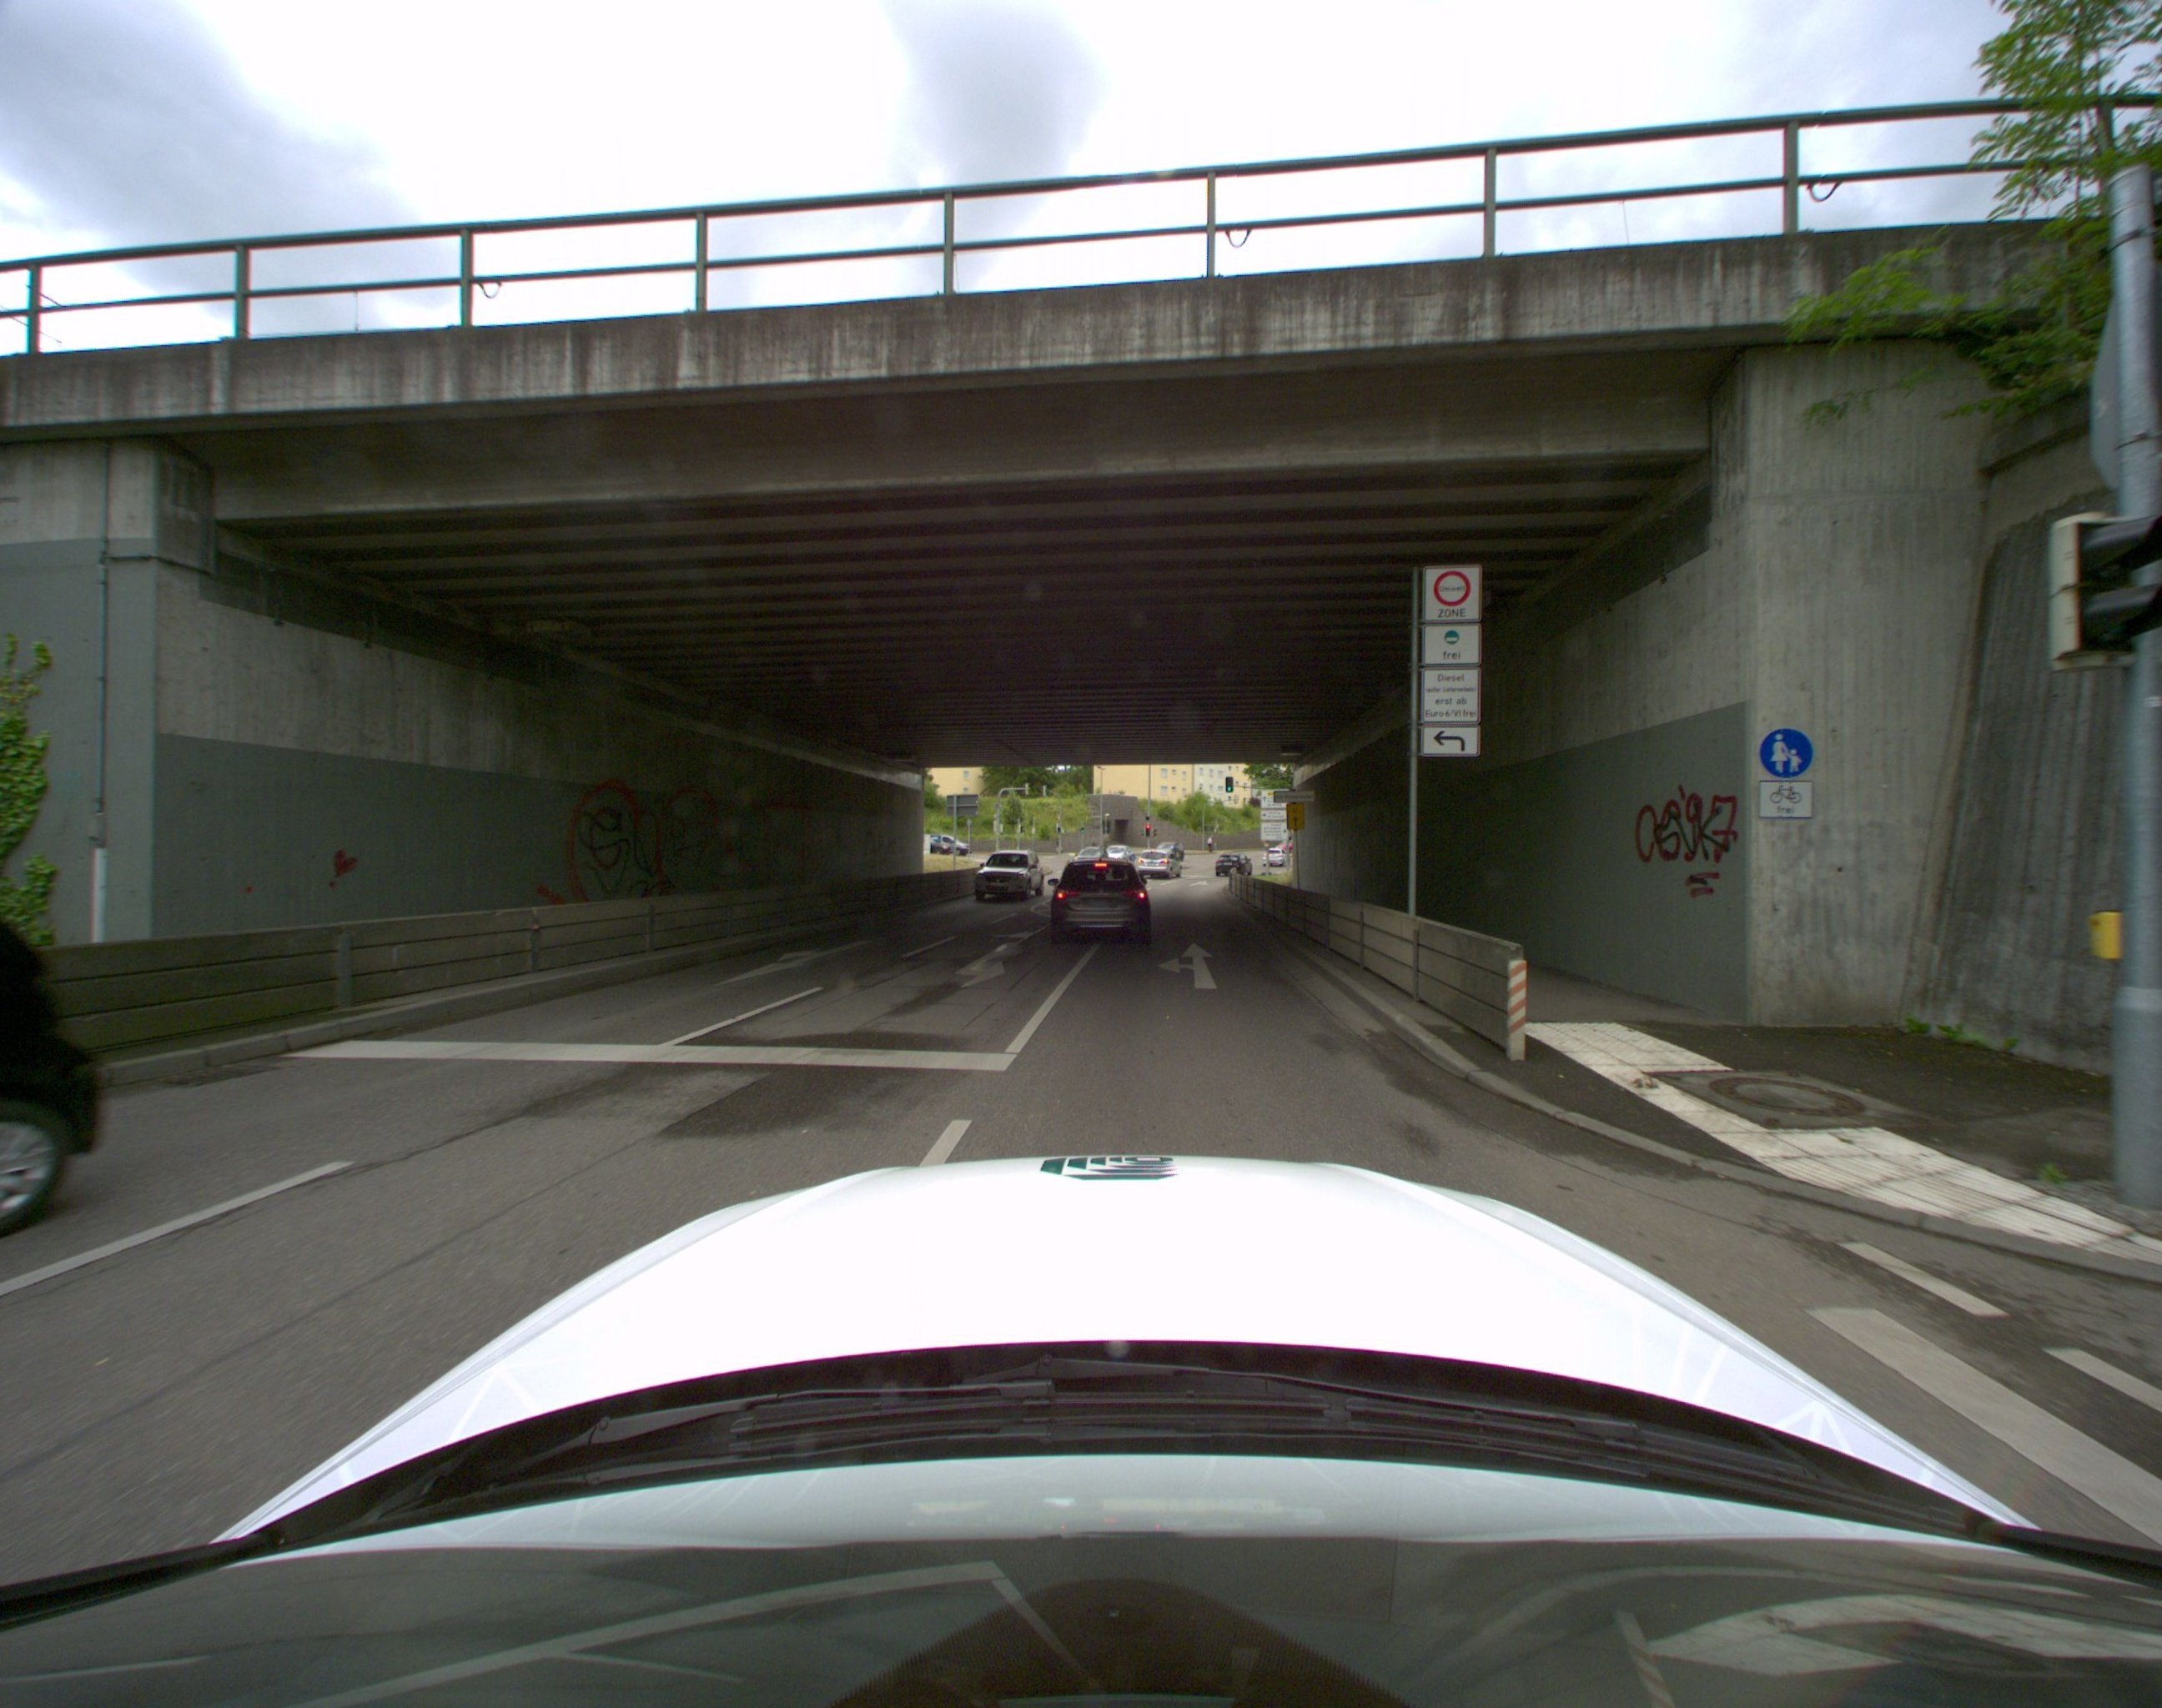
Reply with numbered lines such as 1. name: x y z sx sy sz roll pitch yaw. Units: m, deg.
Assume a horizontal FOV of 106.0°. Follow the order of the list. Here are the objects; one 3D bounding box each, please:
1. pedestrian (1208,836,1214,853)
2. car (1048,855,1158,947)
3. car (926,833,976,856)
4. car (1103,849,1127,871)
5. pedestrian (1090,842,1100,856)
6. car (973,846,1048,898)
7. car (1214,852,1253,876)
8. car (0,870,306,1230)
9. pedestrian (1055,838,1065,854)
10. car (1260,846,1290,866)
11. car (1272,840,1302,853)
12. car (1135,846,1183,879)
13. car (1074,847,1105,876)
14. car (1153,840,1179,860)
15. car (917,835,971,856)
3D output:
1. pedestrian: 14.794 -1.079 92.466 0.602 1.862 0.597 1 1 1
2. car: 0.325 0.795 15.656 1.839 1.493 3.998 1 0 -2
3. car: -11.483 -0.865 71.977 3.969 1.947 2.002 0 1 4
4. car: 2.557 0.416 61.445 1.756 1.591 4.003 0 1 3
5. pedestrian: 1.355 -0.476 79.492 0.908 1.223 0.729 4 1 -2
6. car: -2.373 0.591 28.547 1.774 1.660 4.116 1 0 7
7. car: 9.602 0.597 51.135 1.884 1.466 4.019 0 0 18
8. car: -5.256 0.795 2.477 1.714 1.409 4.007 0 0 6
9. pedestrian: -2.183 -0.853 84.957 0.950 1.612 0.699 1 1 -3
10. car: 16.013 0.130 67.129 1.977 1.618 4.020 1 1 20
11. car: 24.227 -0.893 95.588 1.824 1.454 4.025 5 4 39
12. car: 4.477 0.440 46.301 1.815 1.705 3.887 2 1 18
13. car: 0.563 0.427 50.260 1.679 1.708 3.794 0 0 4
14. car: 7.545 -0.381 72.213 1.981 1.698 4.180 1 1 10
15. car: -11.398 -0.743 67.710 3.959 1.596 1.879 2 1 14
